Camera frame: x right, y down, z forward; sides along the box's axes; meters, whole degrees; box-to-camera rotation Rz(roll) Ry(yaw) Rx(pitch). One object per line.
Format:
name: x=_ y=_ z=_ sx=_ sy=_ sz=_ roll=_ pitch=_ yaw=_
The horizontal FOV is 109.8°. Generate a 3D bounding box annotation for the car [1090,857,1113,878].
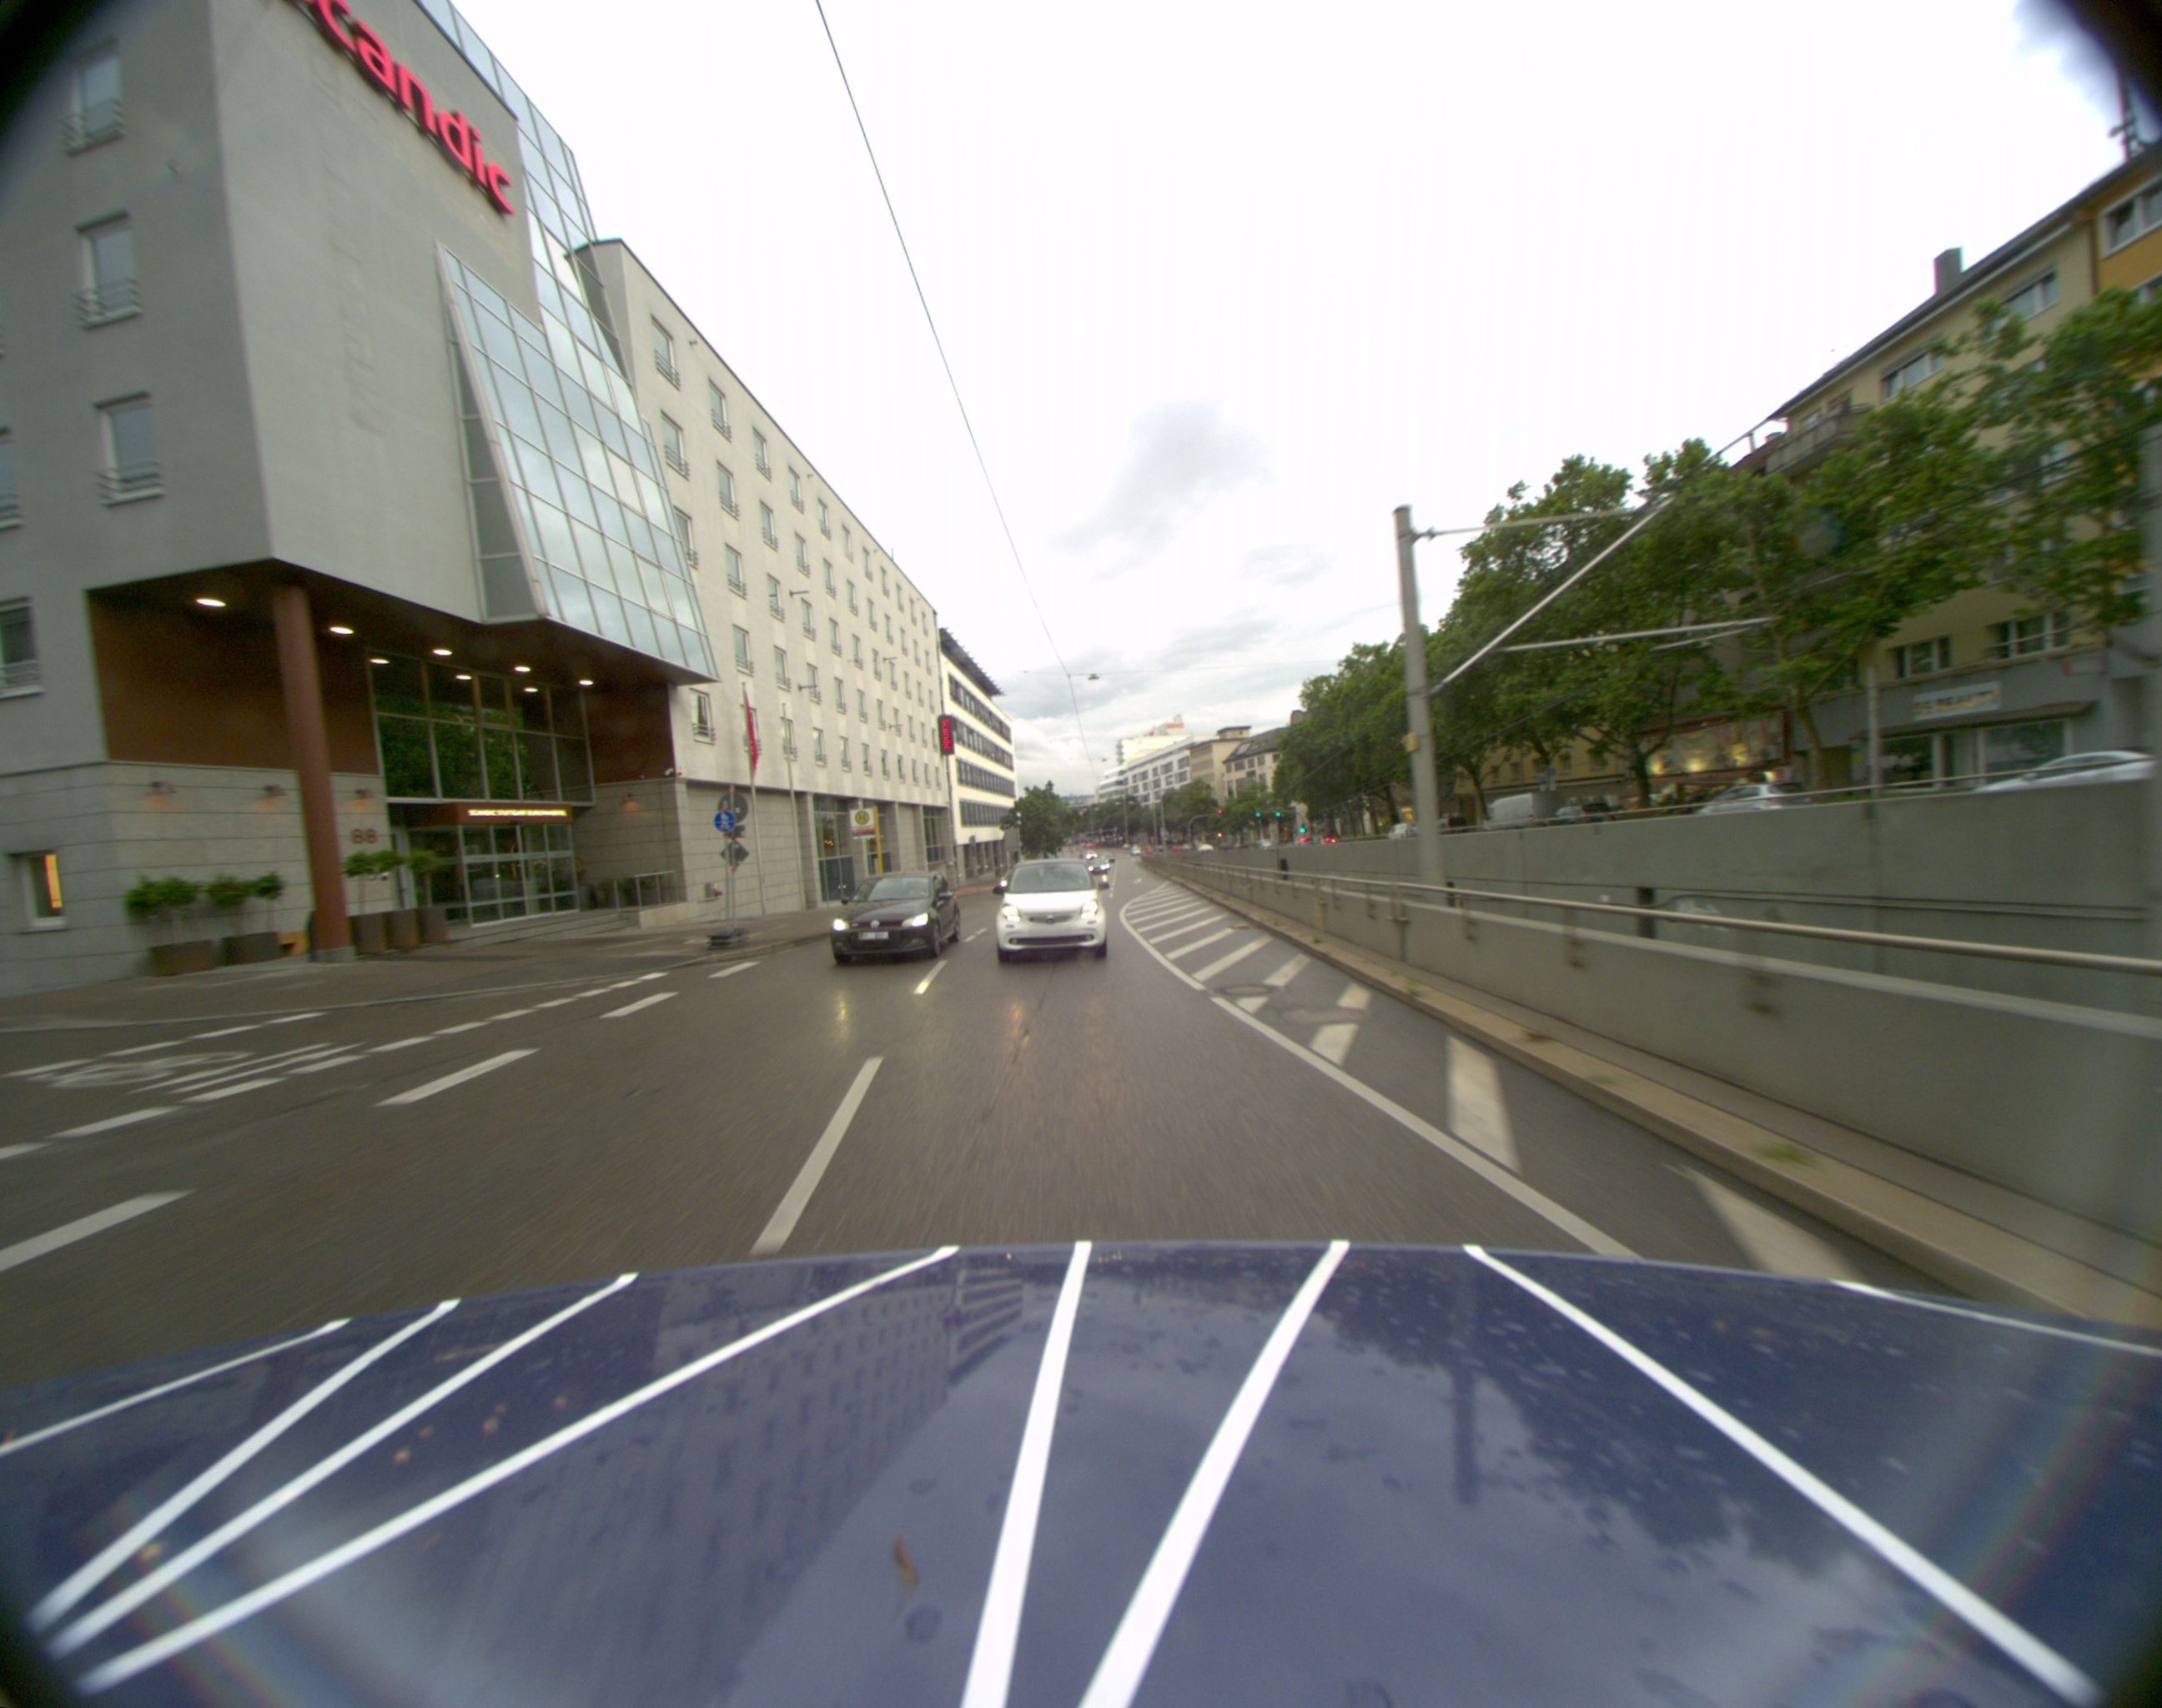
car: x=1.880 y=1.205 z=68.874 sx=1.798 sy=1.501 sz=4.000 roll=-7 pitch=1 yaw=3

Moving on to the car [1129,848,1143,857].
car: x=11.591 y=-0.368 z=160.602 sx=1.800 sy=1.733 sz=3.997 roll=-7 pitch=1 yaw=-9

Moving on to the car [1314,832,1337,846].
car: x=30.179 y=-1.843 z=94.000 sx=1.850 sy=1.501 sz=4.019 roll=-6 pitch=0 yaw=7

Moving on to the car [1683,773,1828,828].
car: x=25.027 y=-1.923 z=28.425 sx=1.798 sy=1.561 sz=4.209 roll=-6 pitch=0 yaw=5

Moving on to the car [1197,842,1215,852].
car: x=22.821 y=-1.274 z=138.937 sx=1.799 sy=1.760 sz=4.728 roll=-6 pitch=1 yaw=-6

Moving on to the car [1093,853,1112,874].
car: x=2.405 y=1.000 z=84.222 sx=1.798 sy=2.021 sz=4.000 roll=-7 pitch=1 yaw=3

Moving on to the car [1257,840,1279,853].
car: x=25.442 y=-0.990 z=103.528 sx=1.851 sy=1.501 sz=4.821 roll=-6 pitch=0 yaw=1

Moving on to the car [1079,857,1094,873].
car: x=0.753 y=1.510 z=104.474 sx=1.799 sy=1.934 sz=3.999 roll=-7 pitch=1 yaw=0

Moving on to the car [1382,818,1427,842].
car: x=28.767 y=-2.078 z=67.715 sx=1.881 sy=1.754 sz=4.901 roll=-6 pitch=0 yaw=1

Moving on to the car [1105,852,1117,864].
car: x=5.361 y=0.731 z=134.231 sx=1.799 sy=1.934 sz=3.999 roll=-7 pitch=1 yaw=0

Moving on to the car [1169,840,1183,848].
car: x=19.659 y=-2.026 z=156.848 sx=1.590 sy=1.393 sz=3.876 roll=-6 pitch=1 yaw=-13

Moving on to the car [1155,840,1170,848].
car: x=18.331 y=-2.300 z=170.939 sx=1.800 sy=1.548 sz=4.831 roll=-6 pitch=1 yaw=-12

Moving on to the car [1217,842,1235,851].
car: x=26.528 y=-1.374 z=138.944 sx=1.800 sy=1.501 sz=3.997 roll=-7 pitch=1 yaw=-9

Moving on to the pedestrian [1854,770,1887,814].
pedestrian: x=32.665 y=-2.564 z=31.437 sx=0.524 sy=1.738 sz=0.622 roll=-8 pitch=0 yaw=12

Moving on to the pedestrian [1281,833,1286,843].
pedestrian: x=36.815 y=-2.844 z=137.974 sx=0.604 sy=1.774 sz=0.526 roll=-7 pitch=1 yaw=-4

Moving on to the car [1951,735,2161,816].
car: x=23.806 y=-1.848 z=17.933 sx=1.798 sy=1.501 sz=4.209 roll=-6 pitch=0 yaw=5

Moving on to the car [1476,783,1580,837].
car: x=26.830 y=-2.529 z=46.024 sx=2.458 sy=2.646 sz=6.934 roll=-6 pitch=0 yaw=5

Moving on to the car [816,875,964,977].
car: x=-3.189 y=1.142 z=13.428 sx=1.678 sy=1.391 sz=3.848 roll=-3 pitch=-1 yaw=-2

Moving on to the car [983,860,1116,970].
car: x=-0.367 y=0.909 z=13.036 sx=1.798 sy=1.528 sz=4.002 roll=-3 pitch=-1 yaw=4

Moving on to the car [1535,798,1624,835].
car: x=25.938 y=-1.905 z=39.745 sx=1.798 sy=1.501 sz=4.673 roll=-6 pitch=0 yaw=5

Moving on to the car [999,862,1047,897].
car: x=-2.950 y=1.291 z=39.231 sx=1.750 sy=1.433 sz=3.707 roll=-7 pitch=1 yaw=5

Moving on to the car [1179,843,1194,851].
car: x=22.504 y=-1.503 z=161.772 sx=1.800 sy=1.501 sz=3.996 roll=-6 pitch=1 yaw=-11

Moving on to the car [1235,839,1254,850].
car: x=25.432 y=-1.454 z=118.134 sx=1.799 sy=1.501 sz=4.343 roll=-5 pitch=1 yaw=-1

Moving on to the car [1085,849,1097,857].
car: x=2.156 y=-0.140 z=163.413 sx=1.800 sy=1.501 sz=3.997 roll=-7 pitch=1 yaw=-8

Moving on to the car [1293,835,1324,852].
car: x=23.923 y=-1.118 z=80.044 sx=2.031 sy=1.501 sz=4.884 roll=-6 pitch=0 yaw=5

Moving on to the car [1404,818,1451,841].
car: x=28.259 y=-1.960 z=62.141 sx=1.881 sy=1.574 sz=4.474 roll=-6 pitch=0 yaw=4

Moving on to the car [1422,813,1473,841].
car: x=27.601 y=-2.010 z=57.372 sx=1.798 sy=1.719 sz=4.207 roll=-6 pitch=0 yaw=3
